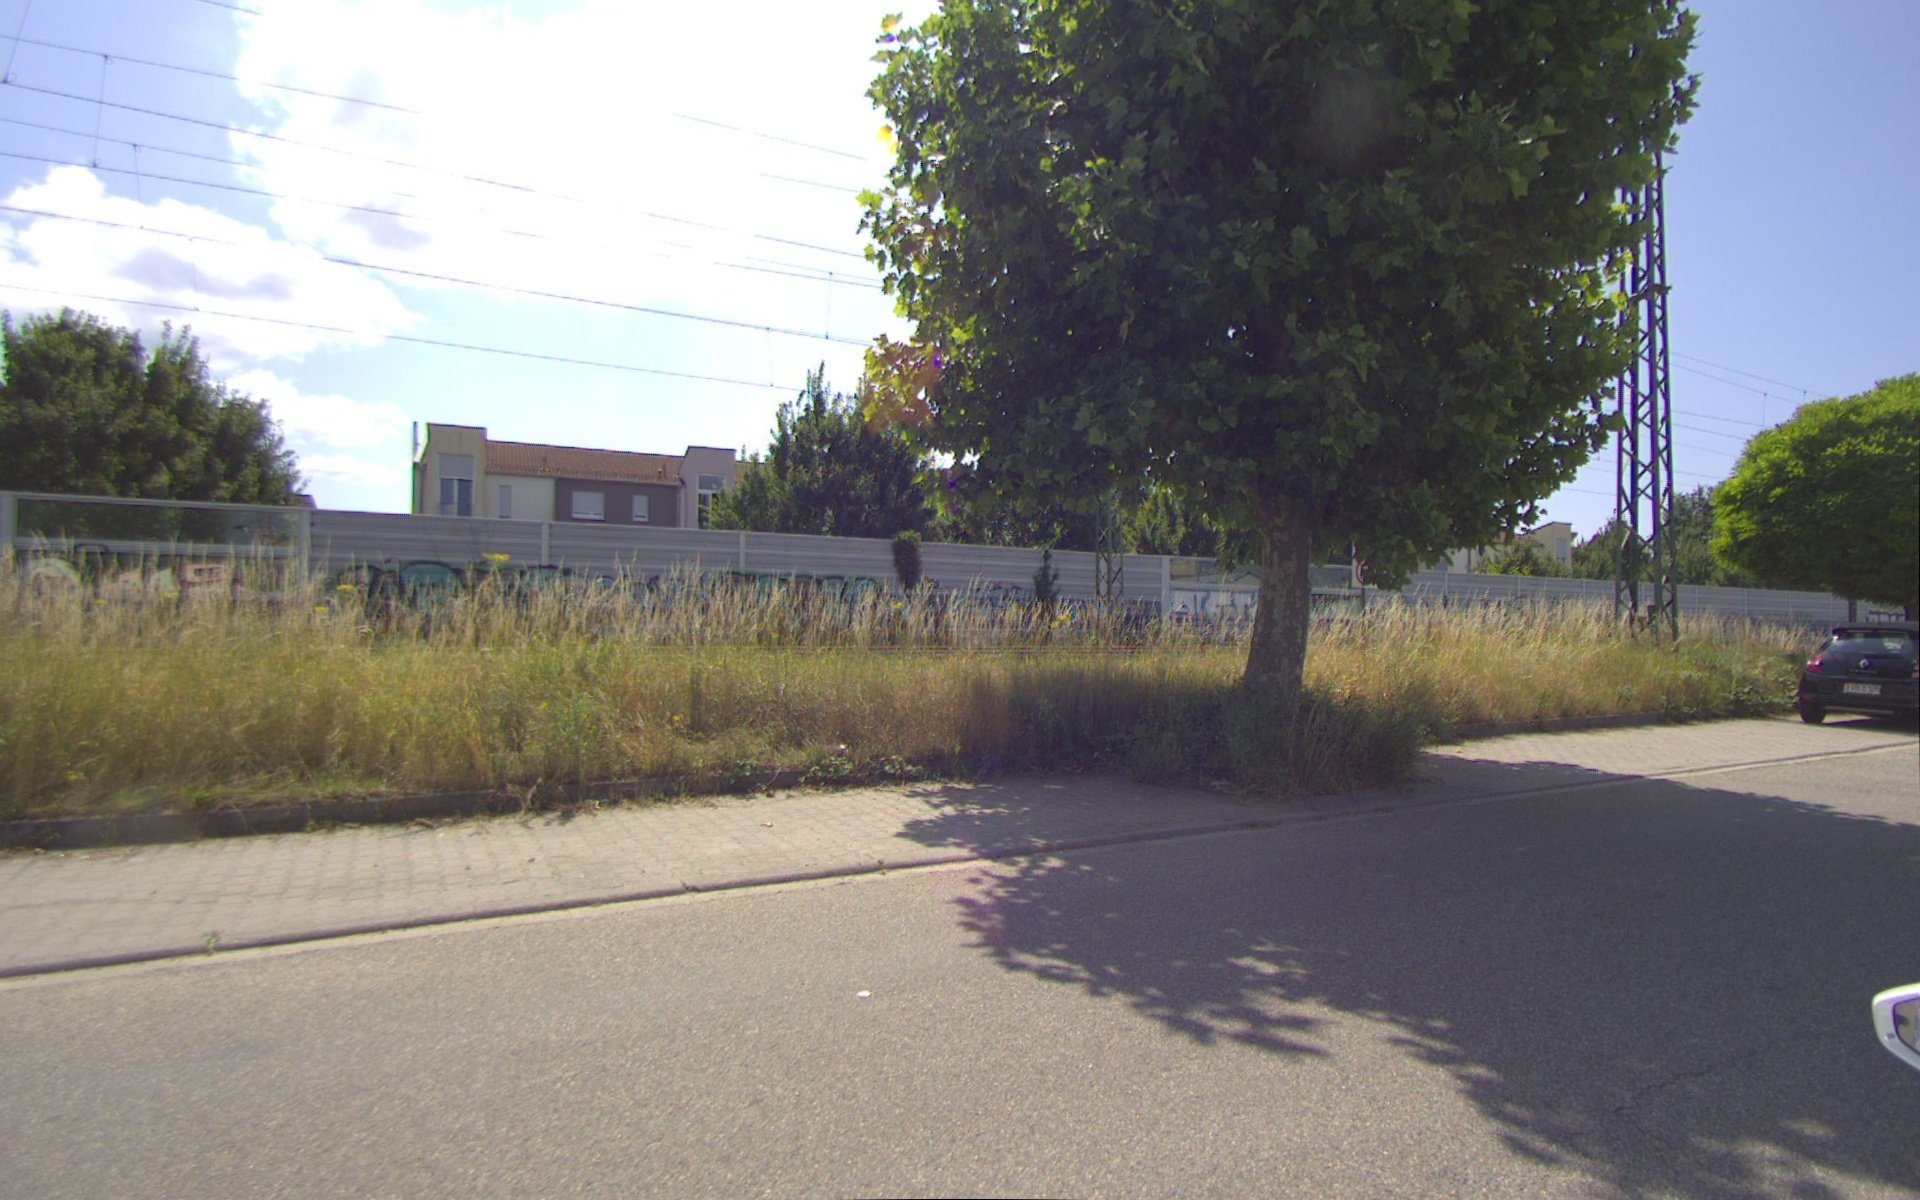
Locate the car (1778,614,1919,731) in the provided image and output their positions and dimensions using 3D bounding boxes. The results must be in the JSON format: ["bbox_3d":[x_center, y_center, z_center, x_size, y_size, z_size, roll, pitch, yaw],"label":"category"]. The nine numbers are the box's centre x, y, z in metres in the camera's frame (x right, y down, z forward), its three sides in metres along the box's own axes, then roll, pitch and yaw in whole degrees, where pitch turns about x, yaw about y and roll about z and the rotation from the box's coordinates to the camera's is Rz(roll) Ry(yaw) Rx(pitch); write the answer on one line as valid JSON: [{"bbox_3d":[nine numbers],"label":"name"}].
[{"bbox_3d":[14.434,1.044,15.532,3.539,1.617,1.732,1,-1,-32],"label":"car"}]
